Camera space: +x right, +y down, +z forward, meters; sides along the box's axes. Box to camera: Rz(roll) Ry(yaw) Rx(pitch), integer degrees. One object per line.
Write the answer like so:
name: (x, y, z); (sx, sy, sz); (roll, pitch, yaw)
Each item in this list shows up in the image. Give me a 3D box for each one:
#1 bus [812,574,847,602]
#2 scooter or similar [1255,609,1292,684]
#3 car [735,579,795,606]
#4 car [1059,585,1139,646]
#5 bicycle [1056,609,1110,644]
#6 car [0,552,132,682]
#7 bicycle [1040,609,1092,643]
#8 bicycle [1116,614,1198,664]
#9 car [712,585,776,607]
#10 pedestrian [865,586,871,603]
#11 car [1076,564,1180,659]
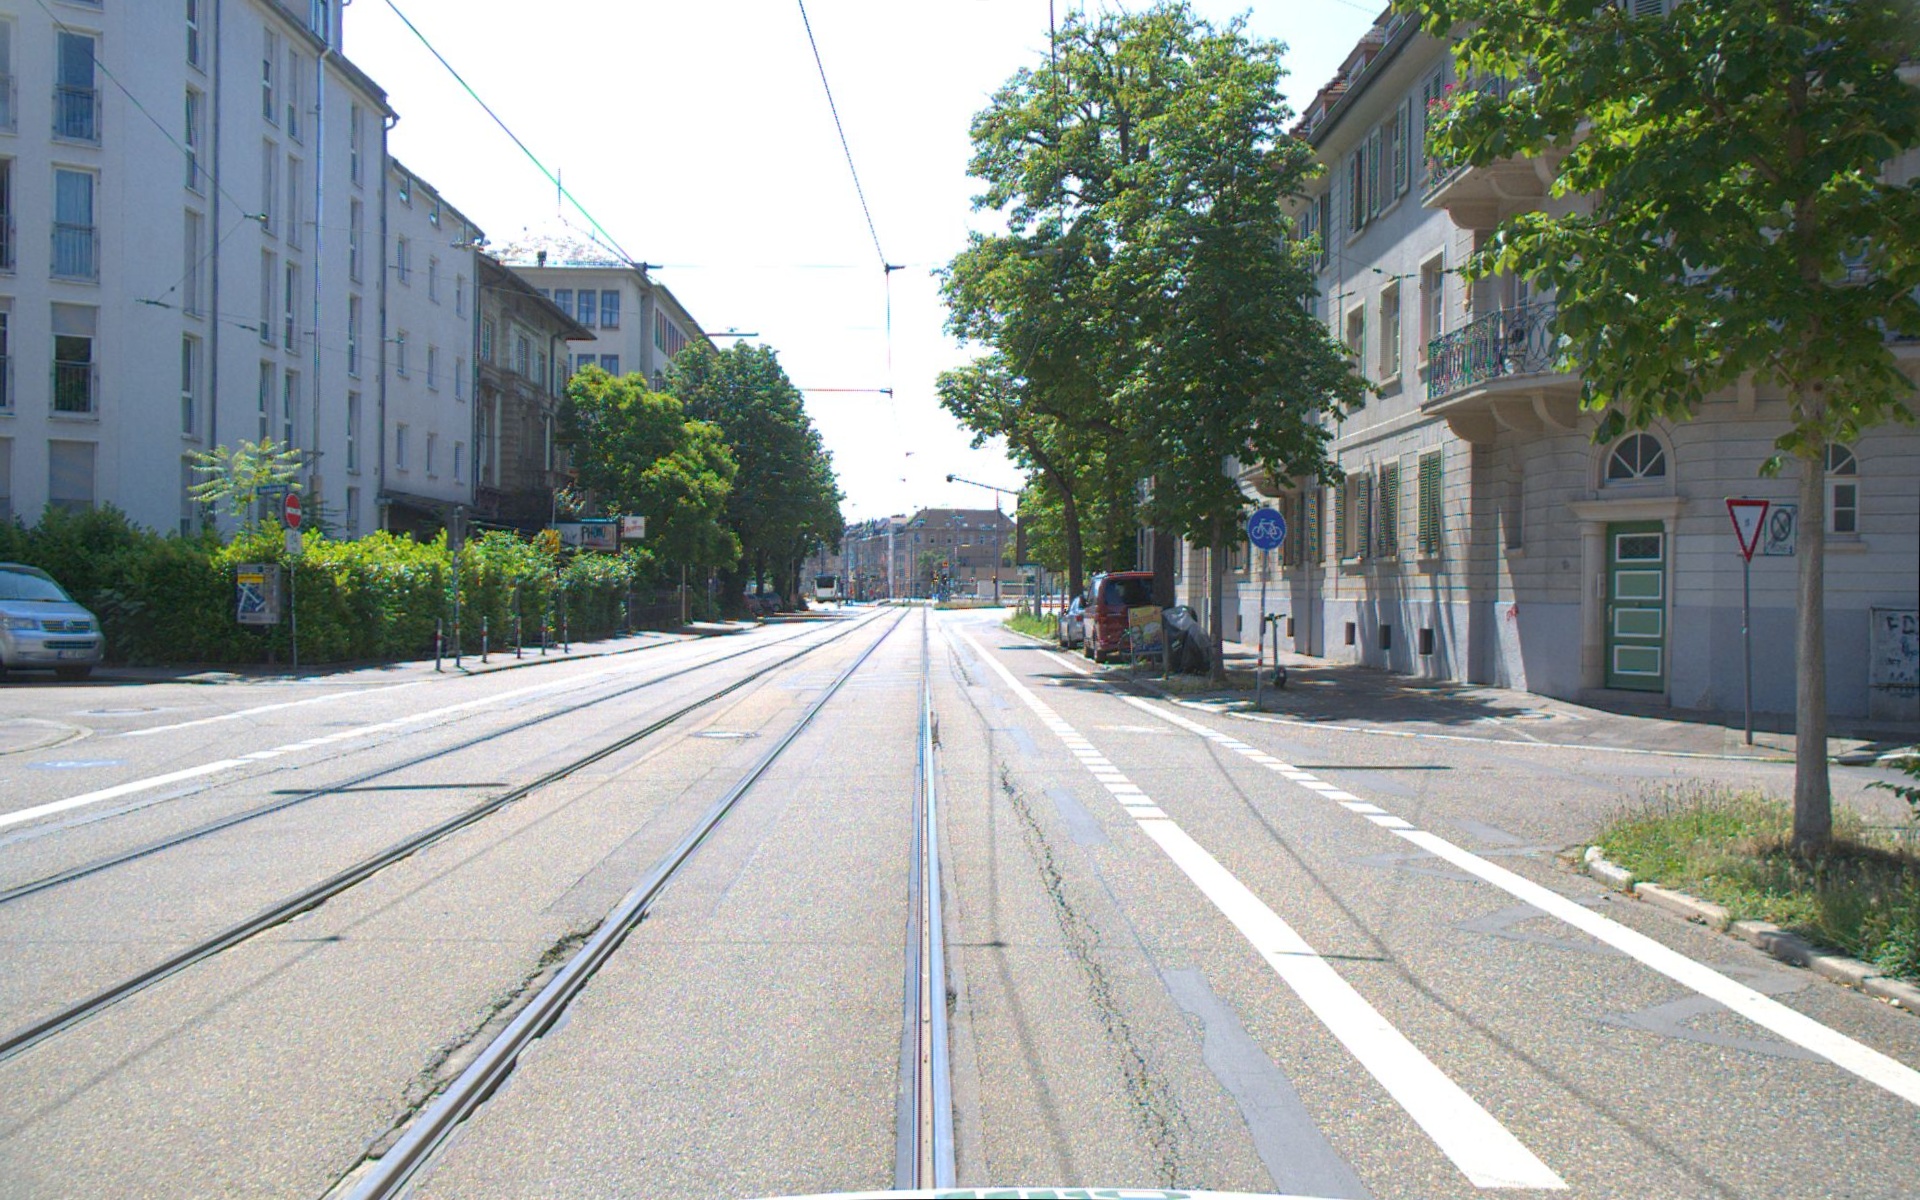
bus: (-15.649, -1.444, 199.272); (2.949, 3.213, 17.495); (1, 0, -1)
scooter or similar: (5.094, 0.743, 26.912); (0.289, 1.181, 1.252); (1, 0, -2)
car: (-11.941, -0.473, 101.427); (3.302, 1.542, 1.655); (2, 0, -27)
car: (3.848, 0.451, 46.426); (1.821, 1.605, 4.877); (1, -1, 0)
bicycle: (3.775, 0.801, 50.761); (1.624, 1.033, 0.371); (1, 0, -1)
car: (-16.369, 0.227, 27.407); (4.593, 2.019, 2.157); (1, 0, 20)
bicycle: (3.309, 0.811, 51.705); (1.624, 1.033, 0.371); (0, -2, -1)
bicycle: (4.125, 0.807, 34.694); (1.664, 1.039, 0.364); (0, 0, -8)
car: (-14.079, -0.264, 107.877); (3.874, 1.398, 1.655); (0, 0, -27)
pedestrian: (-10.581, -0.652, 190.492); (0.660, 1.943, 0.639); (1, 0, -11)
car: (3.848, 0.252, 38.690); (1.822, 2.049, 4.975); (1, 0, -1)
